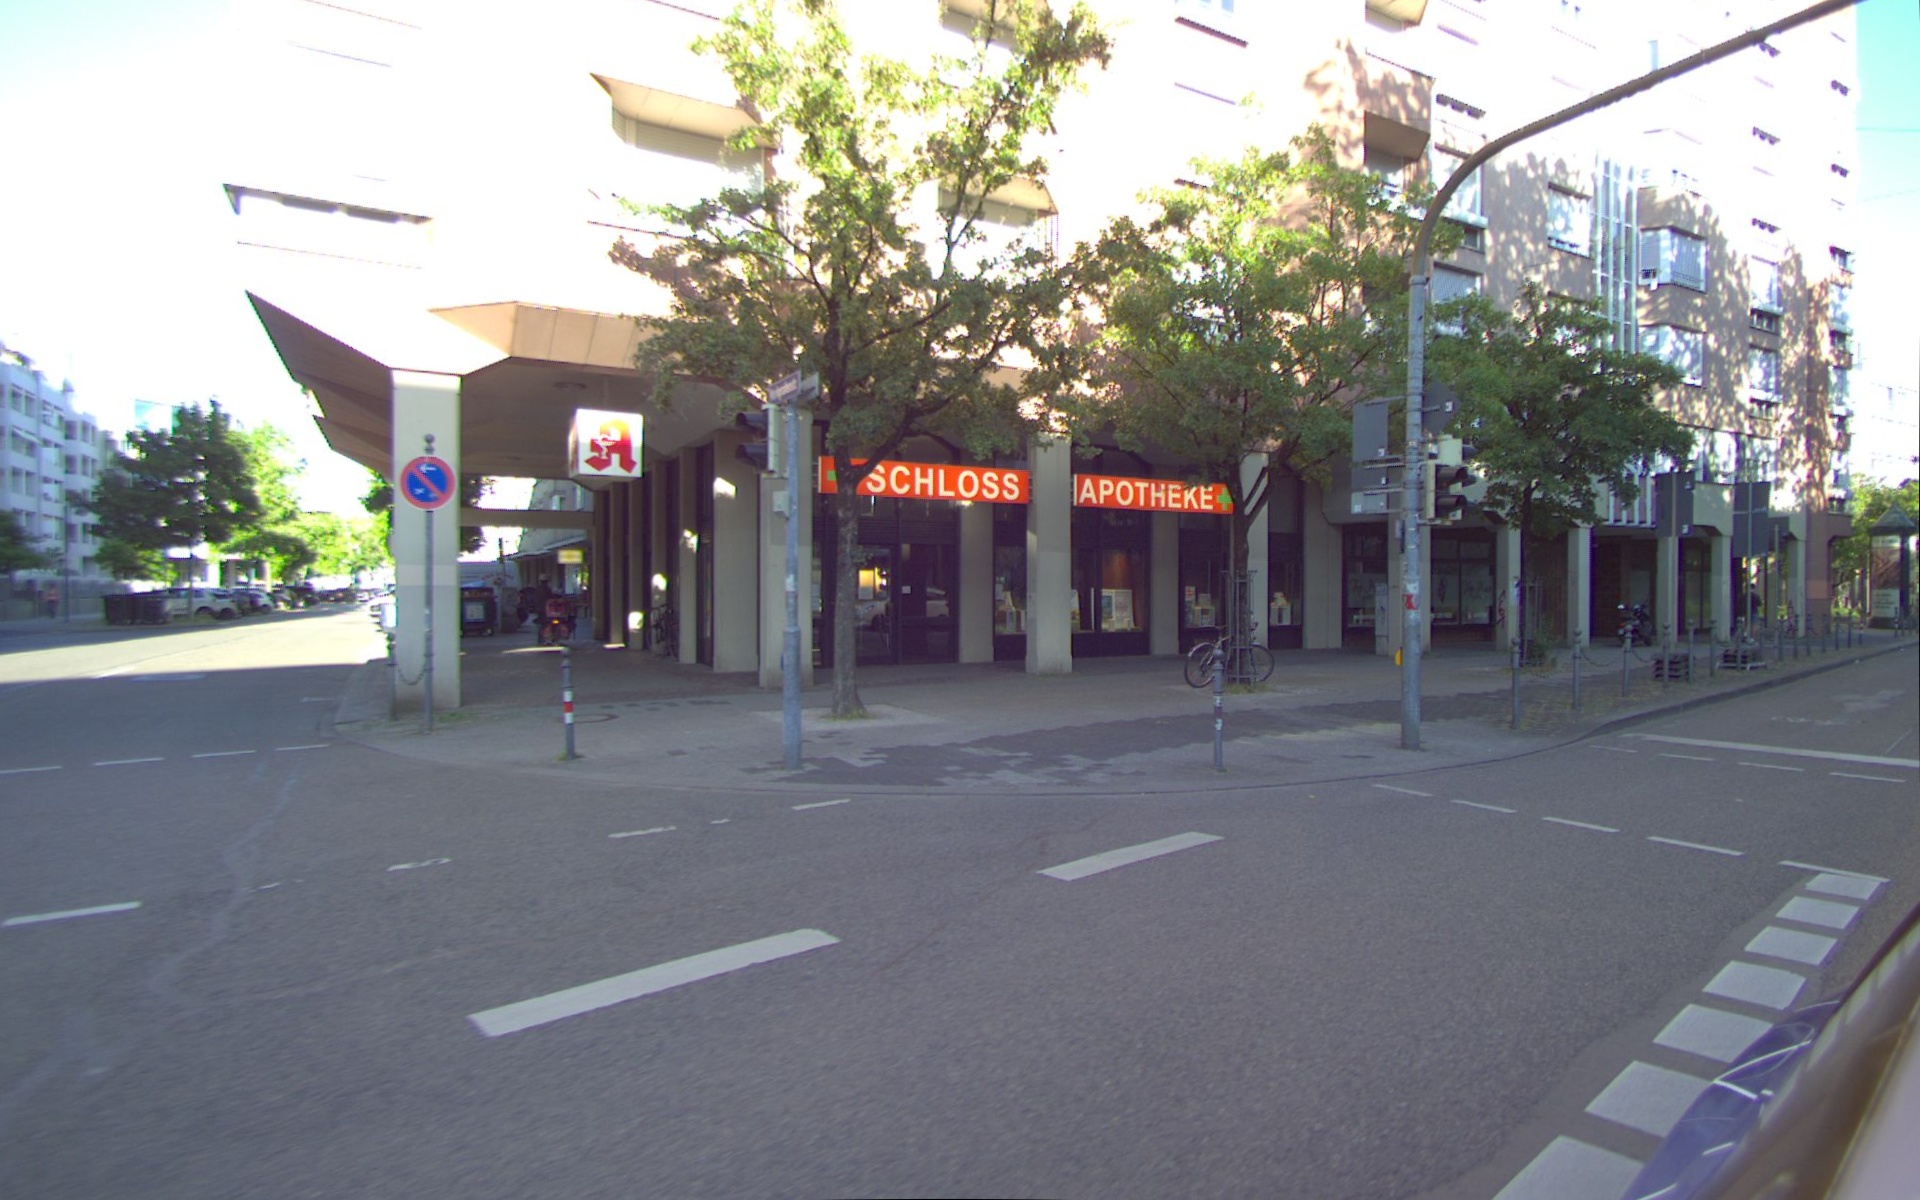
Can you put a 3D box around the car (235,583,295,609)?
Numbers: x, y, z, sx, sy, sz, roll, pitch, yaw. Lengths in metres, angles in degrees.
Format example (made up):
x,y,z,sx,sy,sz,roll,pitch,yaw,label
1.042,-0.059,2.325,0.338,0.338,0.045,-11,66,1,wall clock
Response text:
x,y,z,sx,sy,sz,roll,pitch,yaw,label
-55.888,-0.334,81.415,3.924,2.039,2.000,-1,1,-35,car

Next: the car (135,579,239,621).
x,y,z,sx,sy,sz,roll,pitch,yaw,label
-37.508,-0.030,49.178,3.642,1.997,1.734,-1,1,-19,car

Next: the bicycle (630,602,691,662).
x,y,z,sx,sy,sz,roll,pitch,yaw,label
-6.098,0.610,20.509,0.581,1.108,2.452,0,1,-31,bicycle

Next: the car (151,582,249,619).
x,y,z,sx,sy,sz,roll,pitch,yaw,label
-38.986,-0.012,51.990,3.642,1.829,1.734,-1,1,-19,car

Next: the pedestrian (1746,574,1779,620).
x,y,z,sx,sy,sz,roll,pitch,yaw,label
35.148,-0.136,44.340,0.835,2.006,0.816,0,0,11,pedestrian

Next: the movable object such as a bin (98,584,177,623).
x,y,z,sx,sy,sz,roll,pitch,yaw,label
-34.286,0.140,42.243,2.114,1.518,1.734,-2,1,-24,movable object such as a bin

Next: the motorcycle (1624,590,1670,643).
x,y,z,sx,sy,sz,roll,pitch,yaw,label
18.665,0.420,27.483,2.053,1.390,0.489,-1,0,-40,motorcycle

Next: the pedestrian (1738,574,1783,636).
x,y,z,sx,sy,sz,roll,pitch,yaw,label
23.103,0.142,29.214,0.820,1.760,0.784,0,0,-31,pedestrian

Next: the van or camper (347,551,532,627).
x,y,z,sx,sy,sz,roll,pitch,yaw,label
-20.719,-0.453,40.692,2.339,2.801,6.384,0,1,30,van or camper

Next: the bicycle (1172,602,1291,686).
x,y,z,sx,sy,sz,roll,pitch,yaw,label
4.269,0.661,15.879,1.887,1.241,0.624,0,0,-28,bicycle

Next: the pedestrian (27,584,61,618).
x,y,z,sx,sy,sz,roll,pitch,yaw,label
-41.523,0.036,45.886,1.004,1.505,0.895,0,0,-33,pedestrian

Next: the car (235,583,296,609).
x,y,z,sx,sy,sz,roll,pitch,yaw,label
-54.559,-0.349,79.539,3.924,2.039,2.000,-1,1,-35,car

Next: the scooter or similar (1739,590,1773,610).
x,y,z,sx,sy,sz,roll,pitch,yaw,label
45.973,0.004,58.459,0.548,1.160,1.459,0,0,-34,scooter or similar

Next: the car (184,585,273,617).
x,y,z,sx,sy,sz,roll,pitch,yaw,label
-40.602,0.027,56.269,3.642,1.713,1.734,-1,1,-19,car

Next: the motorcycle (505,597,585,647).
x,y,z,sx,sy,sz,roll,pitch,yaw,label
-10.739,0.534,26.095,1.324,1.193,2.828,-1,1,-35,motorcycle

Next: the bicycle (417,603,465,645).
x,y,z,sx,sy,sz,roll,pitch,yaw,label
-13.573,0.617,26.488,0.600,1.032,1.318,0,1,-1,bicycle

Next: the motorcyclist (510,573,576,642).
x,y,z,sx,sy,sz,roll,pitch,yaw,label
-10.713,0.183,26.014,1.310,1.710,1.174,-1,0,-37,motorcyclist

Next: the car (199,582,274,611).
x,y,z,sx,sy,sz,roll,pitch,yaw,label
-47.026,-0.235,65.834,3.924,1.855,2.000,-1,1,-35,car
